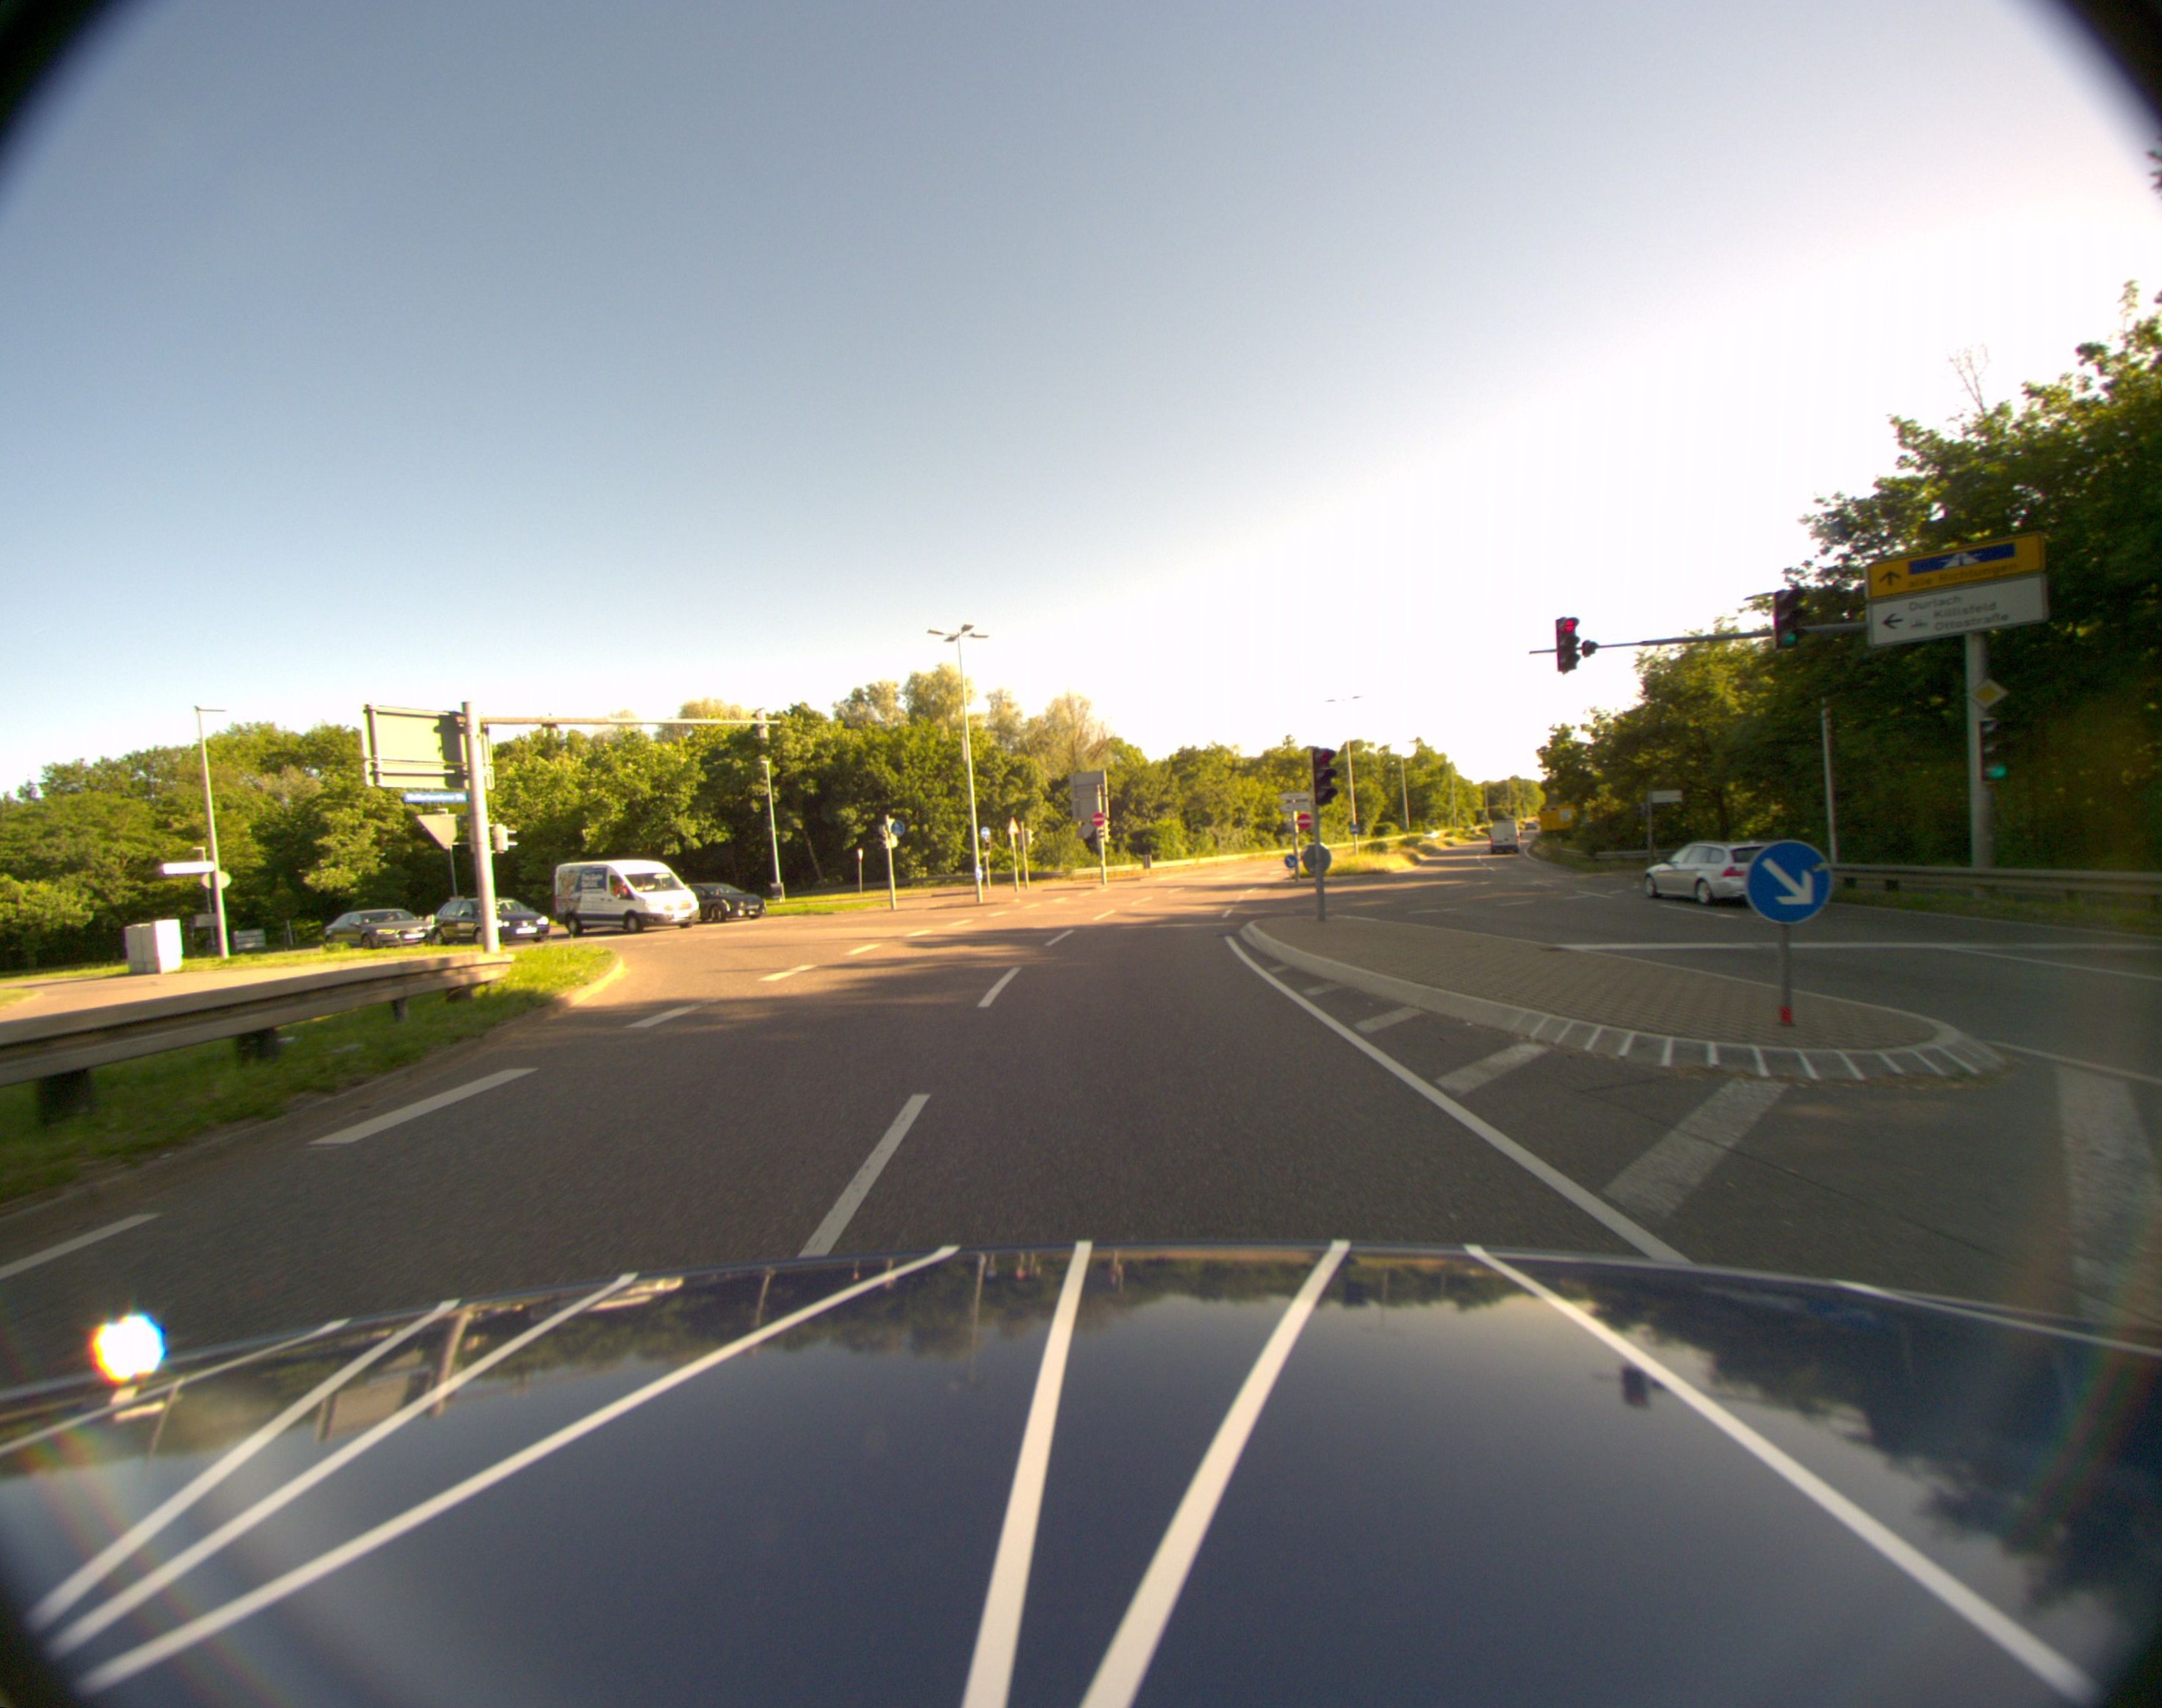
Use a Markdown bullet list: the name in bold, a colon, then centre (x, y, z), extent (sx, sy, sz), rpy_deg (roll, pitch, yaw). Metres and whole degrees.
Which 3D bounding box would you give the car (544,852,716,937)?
- **car**: centre (-15.158, 1.384, 25.485), extent (5.693, 2.484, 2.118), rpy_deg (-4, 0, 27)

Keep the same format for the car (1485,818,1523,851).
- **car**: centre (34.032, -1.568, 61.247), extent (2.265, 2.538, 6.407), rpy_deg (-1, 1, 25)

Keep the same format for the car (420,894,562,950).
- **car**: centre (-17.664, 1.992, 22.733), extent (3.978, 1.405, 1.848), rpy_deg (-2, 1, 28)

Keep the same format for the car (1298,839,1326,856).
- **car**: centre (21.444, -0.618, 70.343), extent (1.761, 1.428, 4.337), rpy_deg (-2, 1, 26)

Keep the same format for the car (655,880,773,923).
- **car**: centre (-13.856, 1.795, 28.649), extent (4.079, 1.431, 1.772), rpy_deg (-2, 1, 25)

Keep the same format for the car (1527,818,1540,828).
- **car**: centre (80.570, -5.421, 135.189), extent (1.913, 1.651, 4.007), rpy_deg (-2, 1, 31)

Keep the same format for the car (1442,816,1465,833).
- **car**: centre (46.265, -3.611, 94.278), extent (1.995, 2.002, 4.007), rpy_deg (-2, 1, 34)

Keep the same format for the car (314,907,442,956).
- **car**: centre (-23.575, 2.545, 25.459), extent (4.279, 1.383, 1.651), rpy_deg (-2, 1, 26)

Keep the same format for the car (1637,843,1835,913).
- **car**: centre (14.784, 0.454, 17.515), extent (1.703, 1.382, 4.532), rpy_deg (-1, 1, 16)
